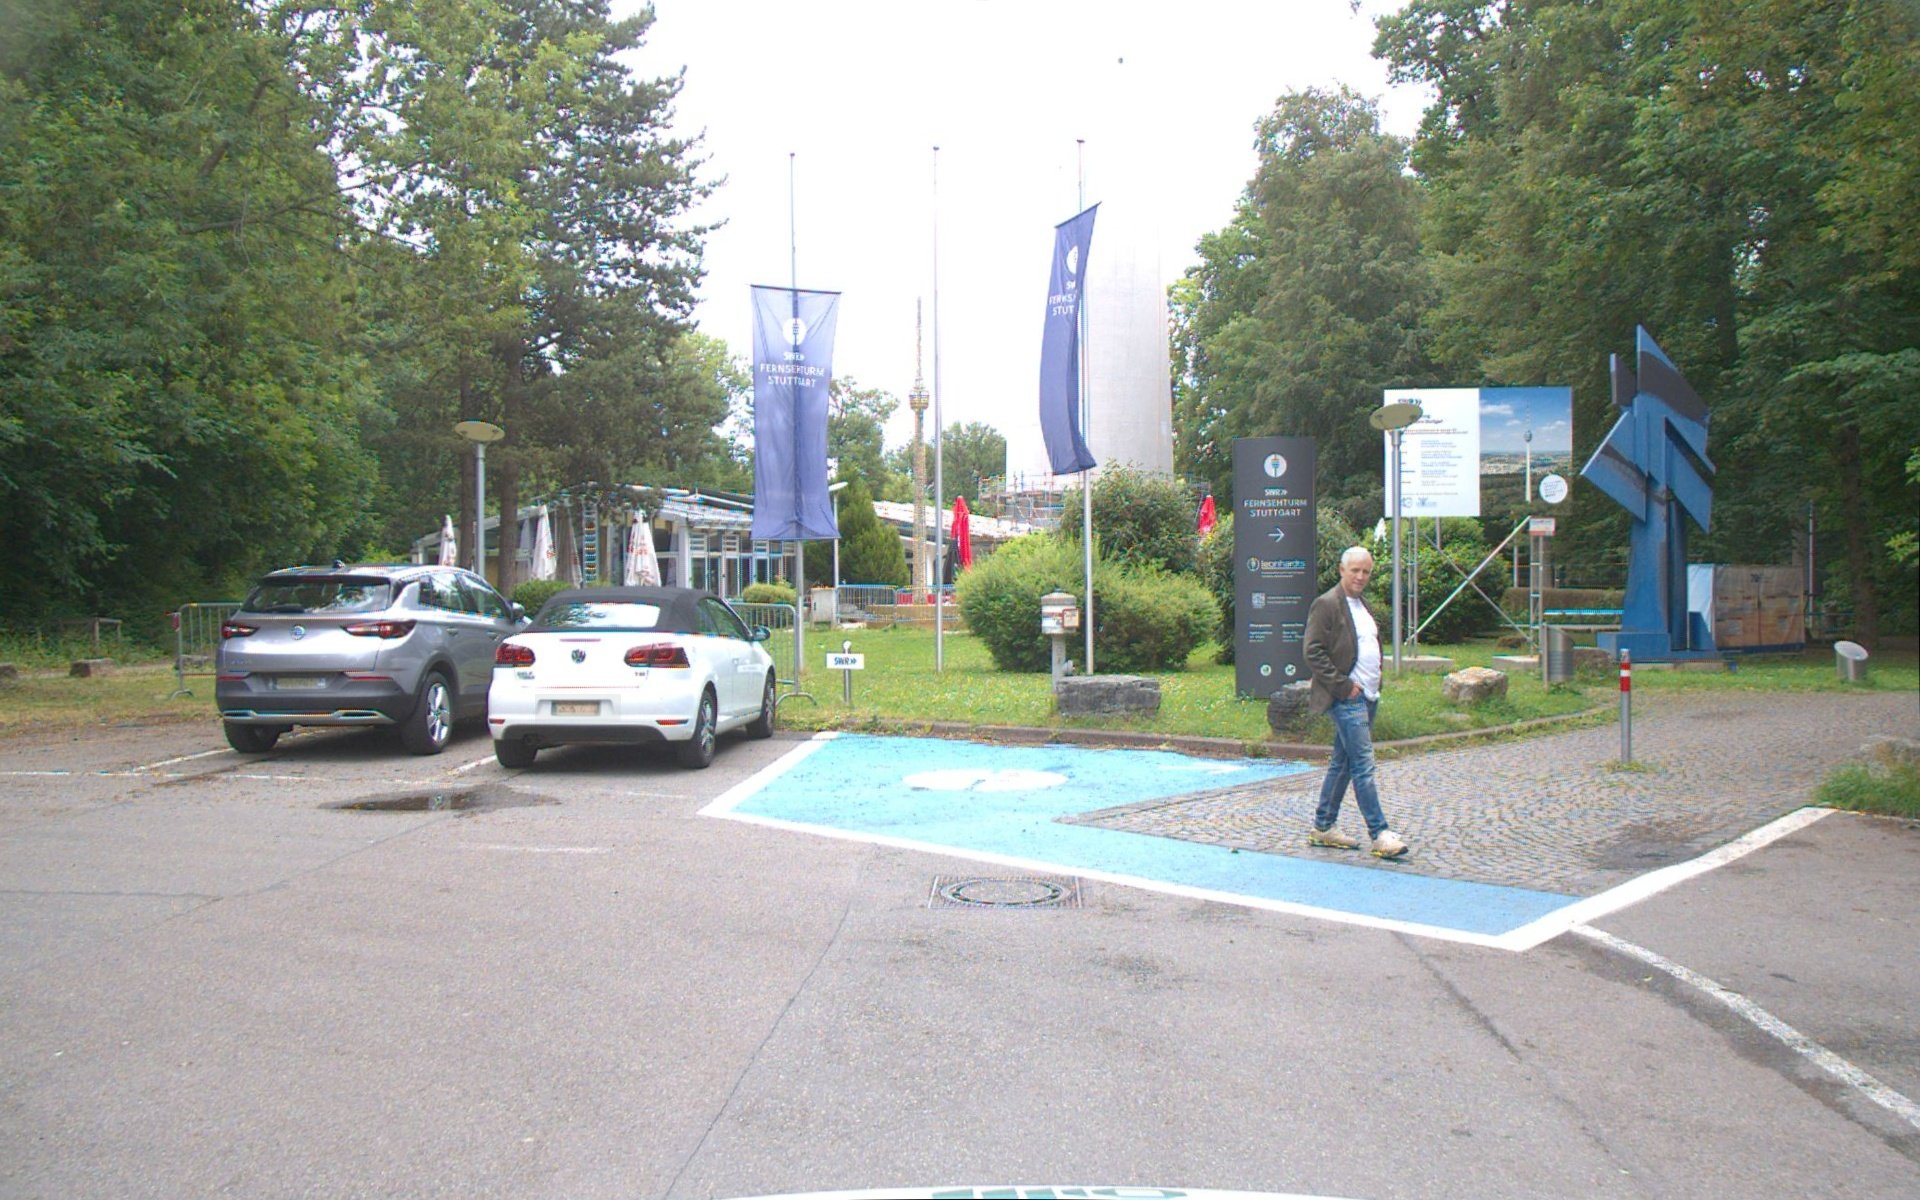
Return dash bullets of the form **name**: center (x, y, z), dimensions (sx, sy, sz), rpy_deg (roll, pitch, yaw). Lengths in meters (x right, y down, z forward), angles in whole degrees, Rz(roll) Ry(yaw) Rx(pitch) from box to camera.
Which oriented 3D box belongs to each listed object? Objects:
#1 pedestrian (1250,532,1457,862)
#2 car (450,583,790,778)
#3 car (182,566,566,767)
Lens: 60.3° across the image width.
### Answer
- **pedestrian**: center (2.229, 0.506, 9.377), dimensions (0.882, 1.755, 0.759), rpy_deg (1, 1, 44)
- **car**: center (-2.786, 0.584, 14.512), dimensions (1.853, 1.453, 4.003), rpy_deg (0, 1, 5)
- **car**: center (-5.212, 0.503, 15.341), dimensions (1.853, 1.612, 4.003), rpy_deg (0, 1, 5)
